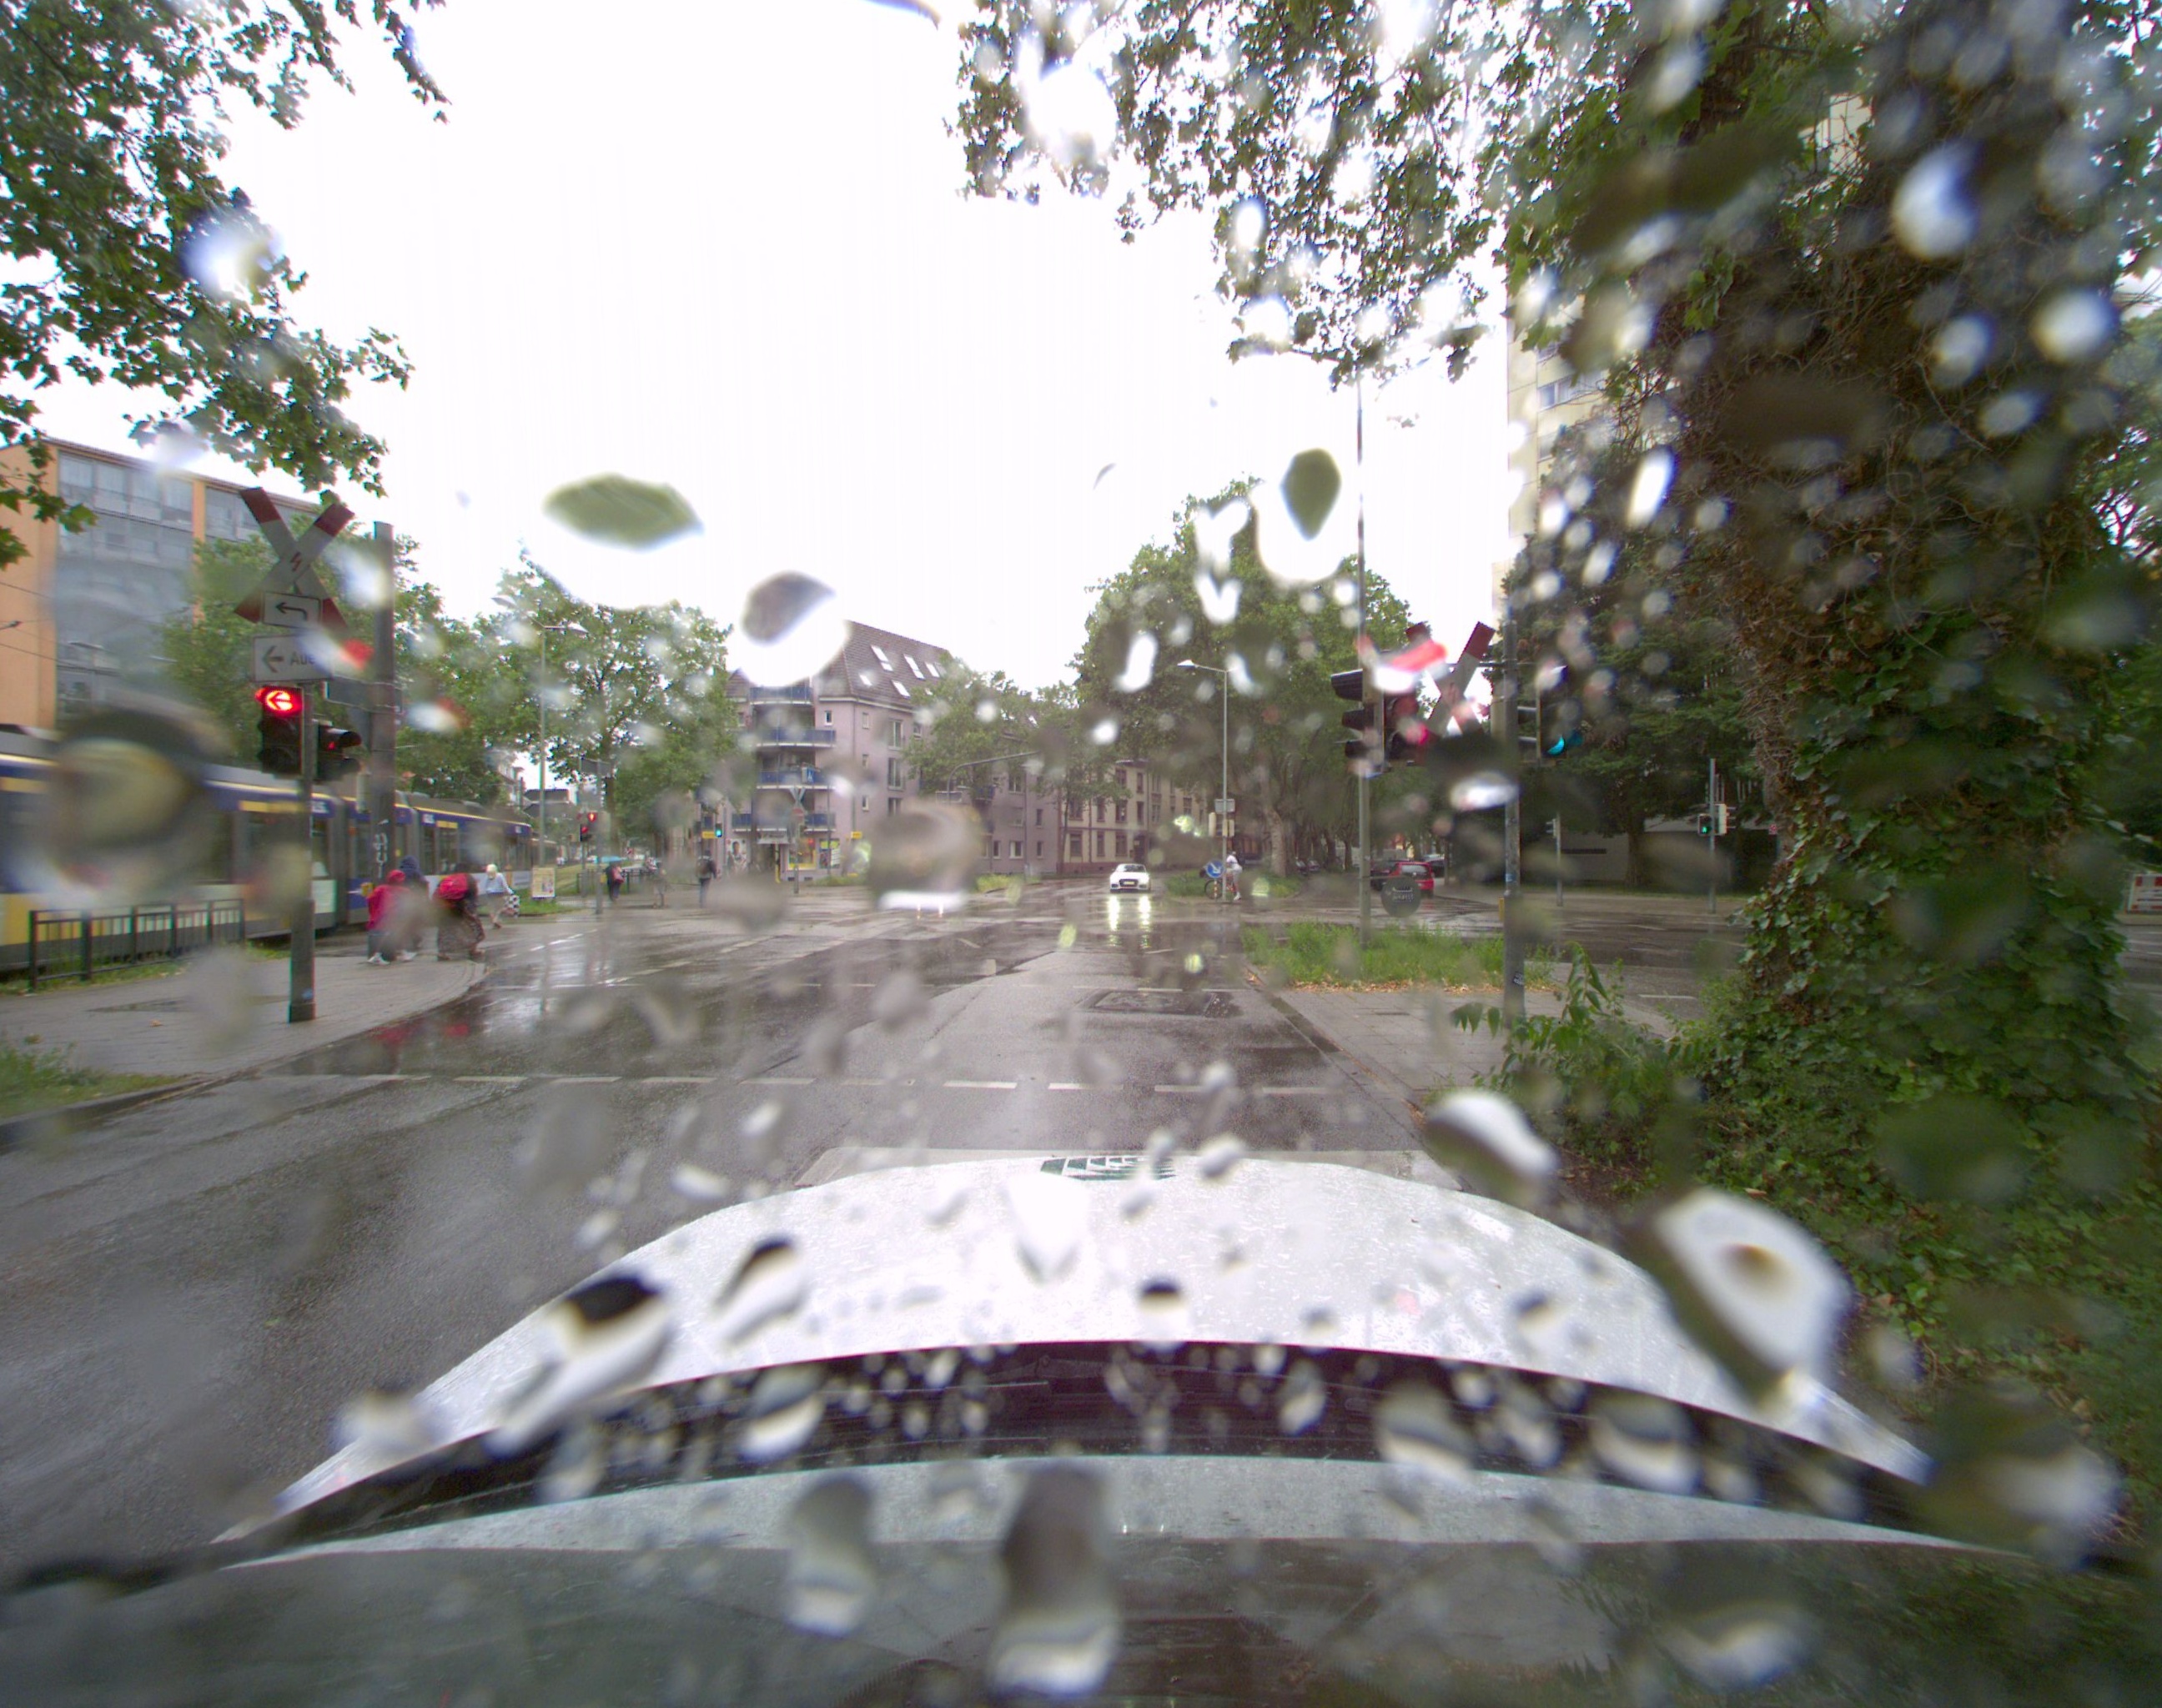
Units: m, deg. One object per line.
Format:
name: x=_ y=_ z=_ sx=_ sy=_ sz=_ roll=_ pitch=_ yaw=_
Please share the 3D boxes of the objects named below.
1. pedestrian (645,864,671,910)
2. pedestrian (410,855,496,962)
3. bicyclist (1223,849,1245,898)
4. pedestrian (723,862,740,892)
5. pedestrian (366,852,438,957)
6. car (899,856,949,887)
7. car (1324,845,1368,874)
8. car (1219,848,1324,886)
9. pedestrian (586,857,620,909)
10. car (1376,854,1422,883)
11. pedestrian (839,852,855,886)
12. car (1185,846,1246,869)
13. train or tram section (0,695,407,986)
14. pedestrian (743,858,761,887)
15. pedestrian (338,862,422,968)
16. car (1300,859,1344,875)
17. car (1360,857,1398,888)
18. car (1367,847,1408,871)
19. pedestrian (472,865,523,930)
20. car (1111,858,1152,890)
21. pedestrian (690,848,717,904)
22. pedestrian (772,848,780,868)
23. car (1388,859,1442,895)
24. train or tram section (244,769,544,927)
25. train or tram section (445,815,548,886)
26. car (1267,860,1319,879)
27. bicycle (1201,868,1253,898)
pedestrian: x=-13.245 y=1.020 z=25.503 sx=0.653 sy=1.396 sz=0.774 roll=0 pitch=0 yaw=-33
pedestrian: x=-10.013 y=0.841 z=13.016 sx=0.728 sy=1.624 sz=0.816 roll=-1 pitch=1 yaw=-5
bicyclist: x=5.693 y=0.714 z=30.377 sx=0.790 sy=1.786 sz=0.699 roll=-1 pitch=-1 yaw=9
pedestrian: x=-19.188 y=1.255 z=44.736 sx=0.674 sy=1.600 sz=0.963 roll=0 pitch=-1 yaw=-14
pedestrian: x=-11.655 y=0.837 z=13.981 sx=0.844 sy=1.698 sz=0.680 roll=-4 pitch=3 yaw=-42
car: x=-8.004 y=0.855 z=41.852 sx=1.745 sy=1.512 sz=3.839 roll=0 pitch=0 yaw=1
car: x=28.324 y=0.585 z=87.228 sx=2.040 sy=2.948 sz=4.742 roll=0 pitch=-1 yaw=-18
car: x=7.654 y=0.518 z=32.699 sx=3.958 sy=1.486 sz=2.008 roll=-1 pitch=-1 yaw=14
pedestrian: x=-16.614 y=0.980 z=28.319 sx=0.962 sy=1.766 sz=0.944 roll=0 pitch=-1 yaw=-28
car: x=15.897 y=0.695 z=40.881 sx=1.770 sy=1.348 sz=3.945 roll=0 pitch=1 yaw=16
pedestrian: x=-15.104 y=0.959 z=52.553 sx=0.912 sy=2.151 sz=0.880 roll=0 pitch=-1 yaw=-23
car: x=8.980 y=0.240 z=54.374 sx=3.838 sy=1.486 sz=1.723 roll=-1 pitch=-1 yaw=14
train or tram section: x=-15.185 y=-0.147 z=11.613 sx=2.867 sy=3.545 sz=15.284 roll=0 pitch=0 yaw=-17
pedestrian: x=-17.868 y=1.003 z=44.251 sx=0.755 sy=1.533 sz=0.783 roll=0 pitch=-1 yaw=-33
pedestrian: x=-10.461 y=0.894 z=12.177 sx=0.681 sy=1.520 sz=0.658 roll=-1 pitch=0 yaw=-6
car: x=23.139 y=1.252 z=78.271 sx=3.958 sy=1.547 sz=2.008 roll=-1 pitch=-1 yaw=14
car: x=17.327 y=1.062 z=47.437 sx=1.769 sy=1.727 sz=4.017 roll=-1 pitch=-1 yaw=16
car: x=38.990 y=0.638 z=103.579 sx=2.006 sy=2.948 sz=4.726 roll=0 pitch=-1 yaw=-29
pedestrian: x=-12.606 y=0.923 z=17.607 sx=0.657 sy=1.349 sz=0.706 roll=0 pitch=0 yaw=-12
car: x=2.428 y=0.936 z=39.163 sx=1.876 sy=1.436 sz=4.004 roll=0 pitch=0 yaw=4
pedestrian: x=-12.692 y=0.721 z=27.421 sx=0.791 sy=1.855 sz=0.676 roll=0 pitch=0 yaw=-22
pedestrian: x=-20.617 y=0.258 z=54.975 sx=0.445 sy=1.329 sz=0.558 roll=0 pitch=-1 yaw=-15
car: x=14.828 y=0.980 z=36.345 sx=1.778 sy=1.498 sz=4.017 roll=0 pitch=0 yaw=16
train or tram section: x=-19.953 y=-0.108 z=25.143 sx=2.871 sy=3.545 sz=13.616 roll=0 pitch=0 yaw=-22
train or tram section: x=-36.311 y=-0.090 z=51.341 sx=2.897 sy=3.768 sz=17.089 roll=0 pitch=-1 yaw=-28
car: x=16.939 y=1.252 z=65.181 sx=3.958 sy=1.486 sz=2.008 roll=-1 pitch=-1 yaw=14
bicycle: x=5.444 y=1.068 z=30.412 sx=1.862 sy=1.081 sz=0.658 roll=-1 pitch=-1 yaw=9
